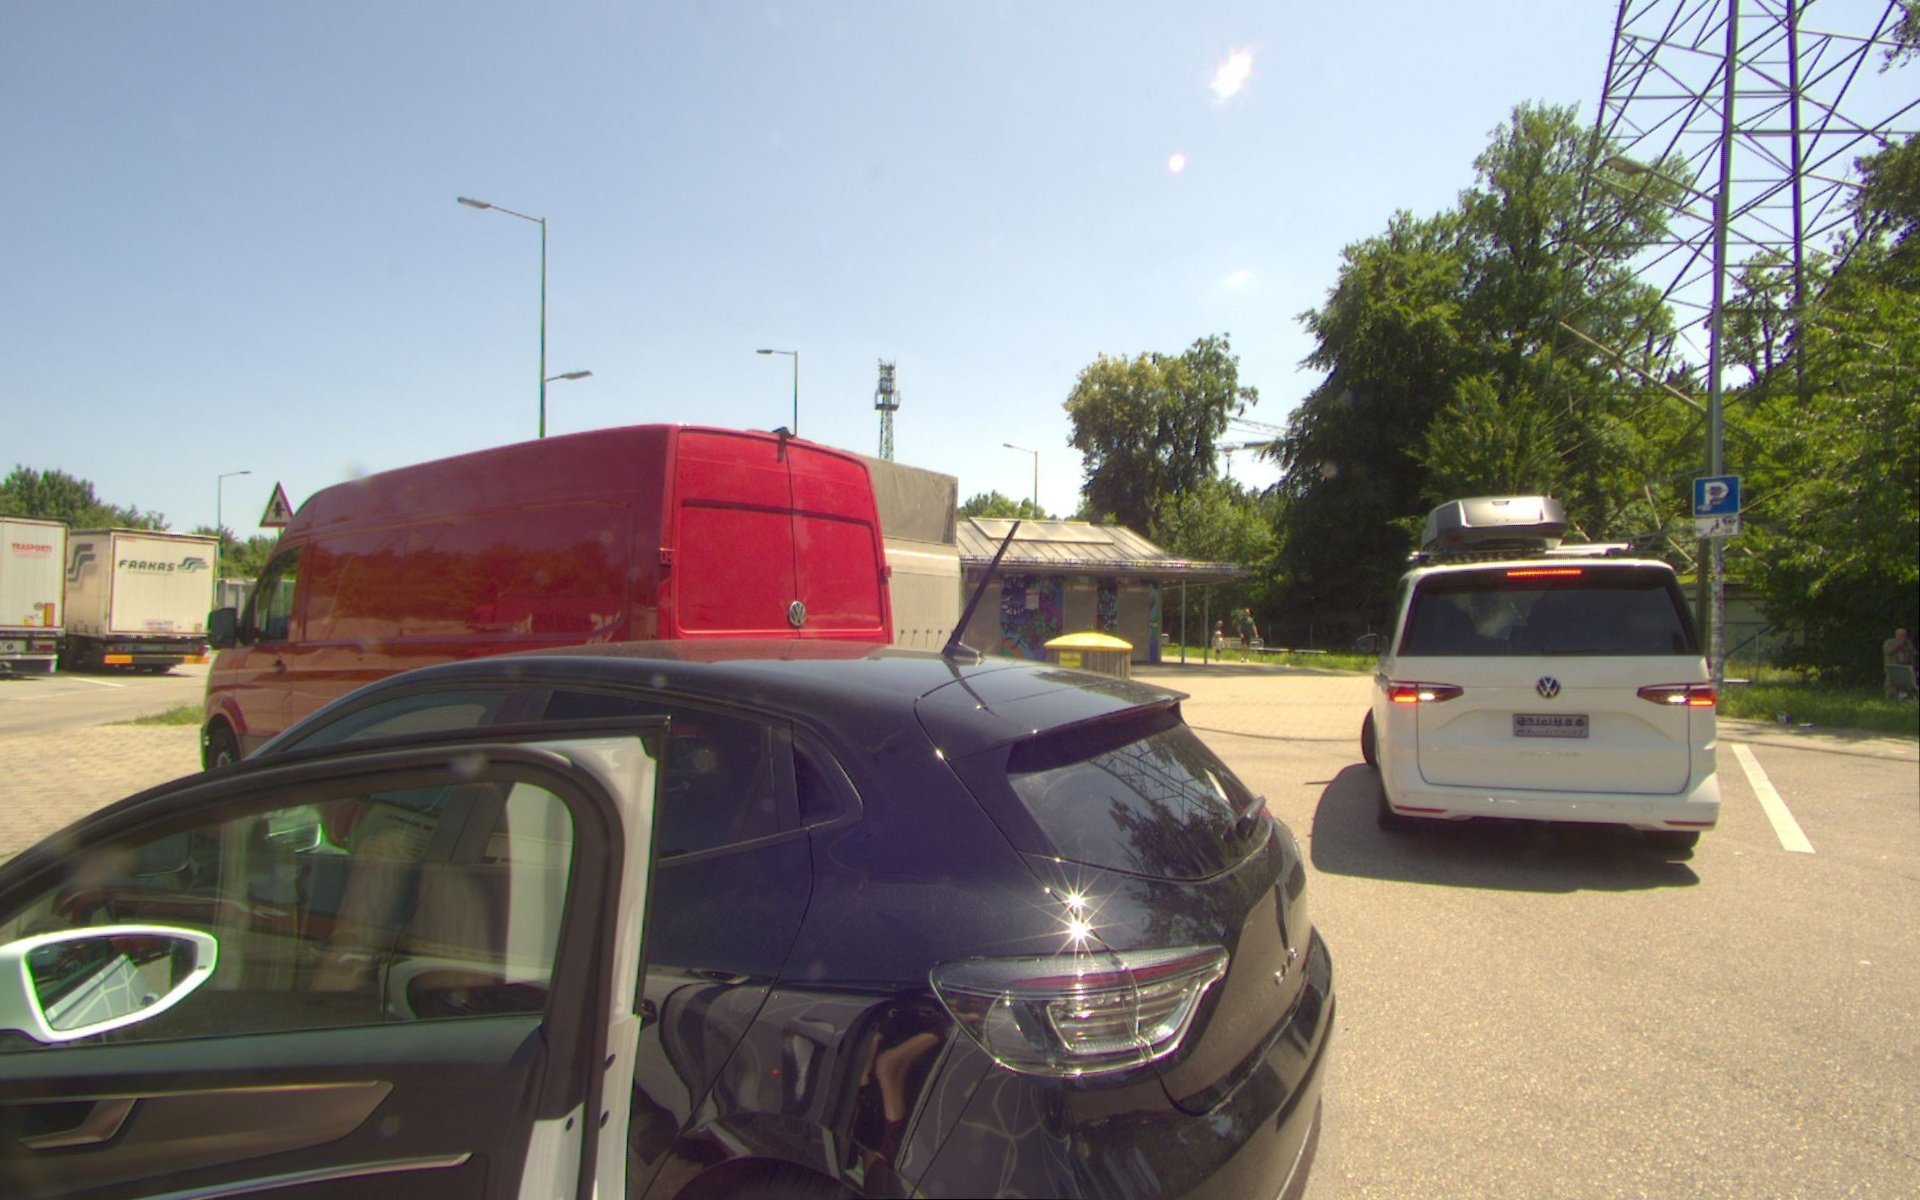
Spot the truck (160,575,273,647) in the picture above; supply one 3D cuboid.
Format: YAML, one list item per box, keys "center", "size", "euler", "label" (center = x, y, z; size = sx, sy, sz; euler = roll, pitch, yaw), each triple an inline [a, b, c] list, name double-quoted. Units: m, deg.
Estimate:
- center: [-37.694, 0.560, 50.758]
  size: [5.405, 3.407, 2.847]
  euler: [1, -2, 34]
  label: "truck"

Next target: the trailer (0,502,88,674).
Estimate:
- center: [-28.970, -0.373, 28.166]
  size: [13.523, 4.185, 2.835]
  euler: [1, -2, 33]
  label: "trailer"

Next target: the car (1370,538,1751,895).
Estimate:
- center: [4.276, 0.689, 7.918]
  size: [1.879, 1.937, 4.553]
  euler: [-1, -1, 22]
  label: "car"

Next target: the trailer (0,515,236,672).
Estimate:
- center: [-27.661, -0.196, 31.647]
  size: [13.523, 4.185, 2.835]
  euler: [1, -2, 33]
  label: "trailer"

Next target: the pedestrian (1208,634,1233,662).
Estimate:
- center: [9.005, 1.657, 34.602]
  size: [0.633, 0.960, 0.778]
  euler: [0, -1, -1]
  label: "pedestrian"

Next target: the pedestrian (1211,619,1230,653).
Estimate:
- center: [12.105, 1.676, 46.459]
  size: [0.635, 1.547, 0.564]
  euler: [0, -1, -20]
  label: "pedestrian"

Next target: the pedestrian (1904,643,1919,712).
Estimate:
- center: [17.187, 1.351, 17.489]
  size: [0.876, 1.192, 0.666]
  euler: [-1, -2, 32]
  label: "pedestrian"

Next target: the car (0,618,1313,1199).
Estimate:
- center: [-1.067, 0.835, 2.921]
  size: [3.757, 1.501, 1.736]
  euler: [0, -1, 27]
  label: "car"

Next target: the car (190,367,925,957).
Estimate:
- center: [-3.358, 0.309, 7.372]
  size: [6.310, 2.731, 2.060]
  euler: [0, -1, 37]
  label: "car"

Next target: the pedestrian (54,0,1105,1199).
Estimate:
- center: [-0.385, 0.595, 1.017]
  size: [0.878, 1.865, 0.618]
  euler: [-1, -1, 35]
  label: "pedestrian"

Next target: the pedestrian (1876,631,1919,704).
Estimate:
- center: [18.728, 1.320, 19.901]
  size: [0.660, 1.422, 0.647]
  euler: [-1, -1, 33]
  label: "pedestrian"

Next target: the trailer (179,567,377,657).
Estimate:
- center: [-32.385, 0.476, 47.158]
  size: [13.530, 3.764, 2.834]
  euler: [1, -2, 34]
  label: "trailer"

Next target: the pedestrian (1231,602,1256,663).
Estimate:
- center: [9.798, 1.127, 34.626]
  size: [0.633, 2.067, 0.778]
  euler: [0, -1, -1]
  label: "pedestrian"

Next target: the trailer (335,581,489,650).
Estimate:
- center: [-36.047, 0.904, 65.452]
  size: [13.530, 4.101, 2.833]
  euler: [1, -2, 34]
  label: "trailer"
